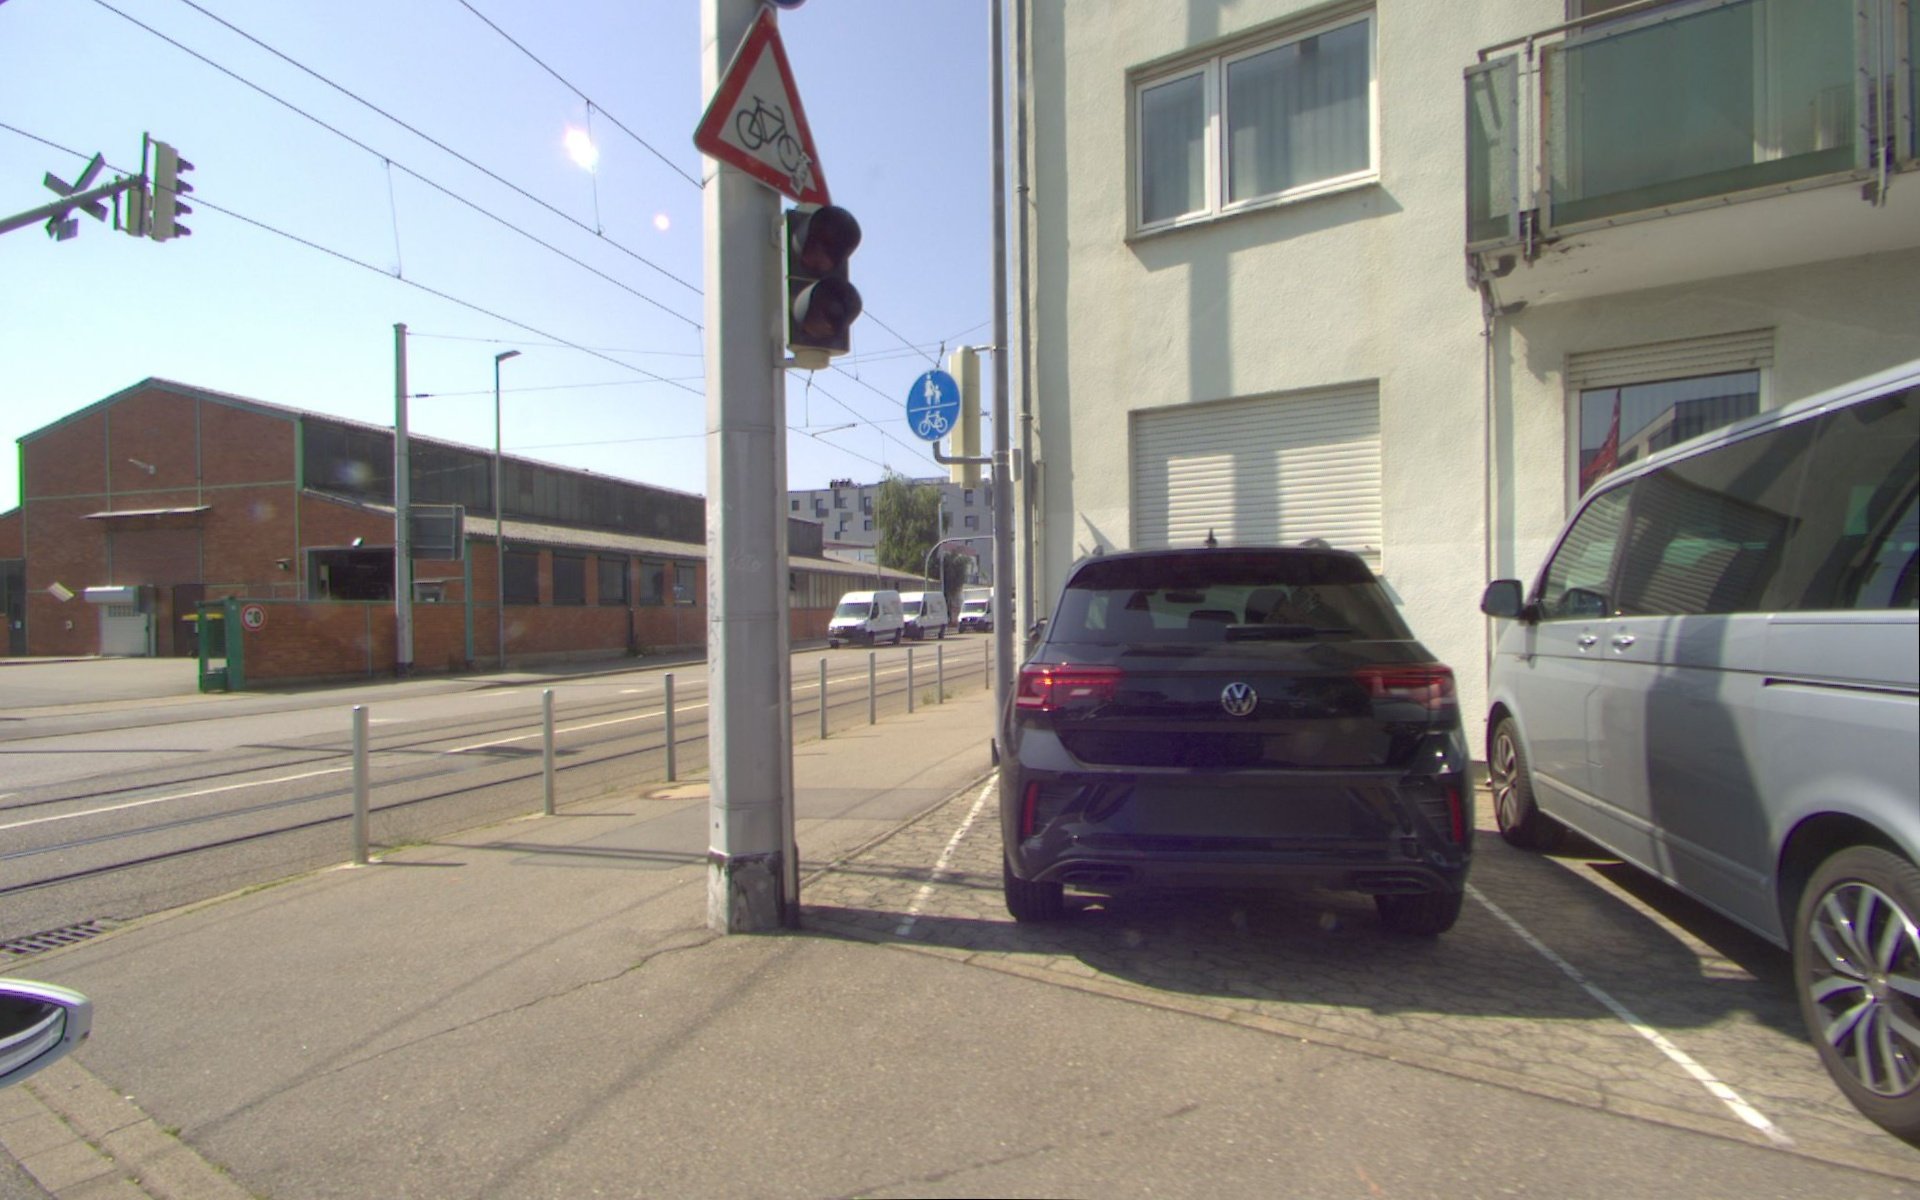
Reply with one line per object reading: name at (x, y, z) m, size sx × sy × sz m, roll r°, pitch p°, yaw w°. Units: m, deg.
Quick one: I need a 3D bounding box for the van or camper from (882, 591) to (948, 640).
van or camper at (-2.399, 0.829, 54.892) m, size 2.007 × 2.567 × 5.575 m, roll -1°, pitch 0°, yaw 15°

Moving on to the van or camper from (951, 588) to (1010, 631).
van or camper at (1.487, 0.648, 69.170) m, size 2.478 × 2.823 × 7.108 m, roll -1°, pitch 0°, yaw 15°

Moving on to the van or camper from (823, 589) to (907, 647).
van or camper at (-4.422, 0.849, 47.658) m, size 2.007 × 2.567 × 5.862 m, roll -1°, pitch 0°, yaw 15°

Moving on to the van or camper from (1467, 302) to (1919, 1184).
van or camper at (3.417, 0.300, 3.464) m, size 1.963 × 1.933 × 4.551 m, roll 0°, pitch 0°, yaw 14°

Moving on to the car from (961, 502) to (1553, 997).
car at (1.231, 0.504, 5.226) m, size 1.844 × 1.541 × 3.972 m, roll -1°, pitch -1°, yaw 9°

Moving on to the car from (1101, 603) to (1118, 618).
car at (20.534, 1.478, 137.438) m, size 1.793 × 2.040 × 3.830 m, roll -1°, pitch 0°, yaw 16°

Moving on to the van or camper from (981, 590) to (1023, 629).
van or camper at (3.215, 0.711, 75.582) m, size 2.137 × 2.823 × 4.726 m, roll -1°, pitch 0°, yaw 15°

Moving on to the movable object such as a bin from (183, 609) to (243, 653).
movable object such as a bin at (-23.135, 0.950, 31.031) m, size 1.131 × 1.332 × 0.976 m, roll -1°, pitch 1°, yaw 17°

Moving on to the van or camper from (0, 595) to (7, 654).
van or camper at (-32.247, 0.710, 30.658) m, size 1.961 × 1.924 × 4.424 m, roll 0°, pitch -3°, yaw -2°
